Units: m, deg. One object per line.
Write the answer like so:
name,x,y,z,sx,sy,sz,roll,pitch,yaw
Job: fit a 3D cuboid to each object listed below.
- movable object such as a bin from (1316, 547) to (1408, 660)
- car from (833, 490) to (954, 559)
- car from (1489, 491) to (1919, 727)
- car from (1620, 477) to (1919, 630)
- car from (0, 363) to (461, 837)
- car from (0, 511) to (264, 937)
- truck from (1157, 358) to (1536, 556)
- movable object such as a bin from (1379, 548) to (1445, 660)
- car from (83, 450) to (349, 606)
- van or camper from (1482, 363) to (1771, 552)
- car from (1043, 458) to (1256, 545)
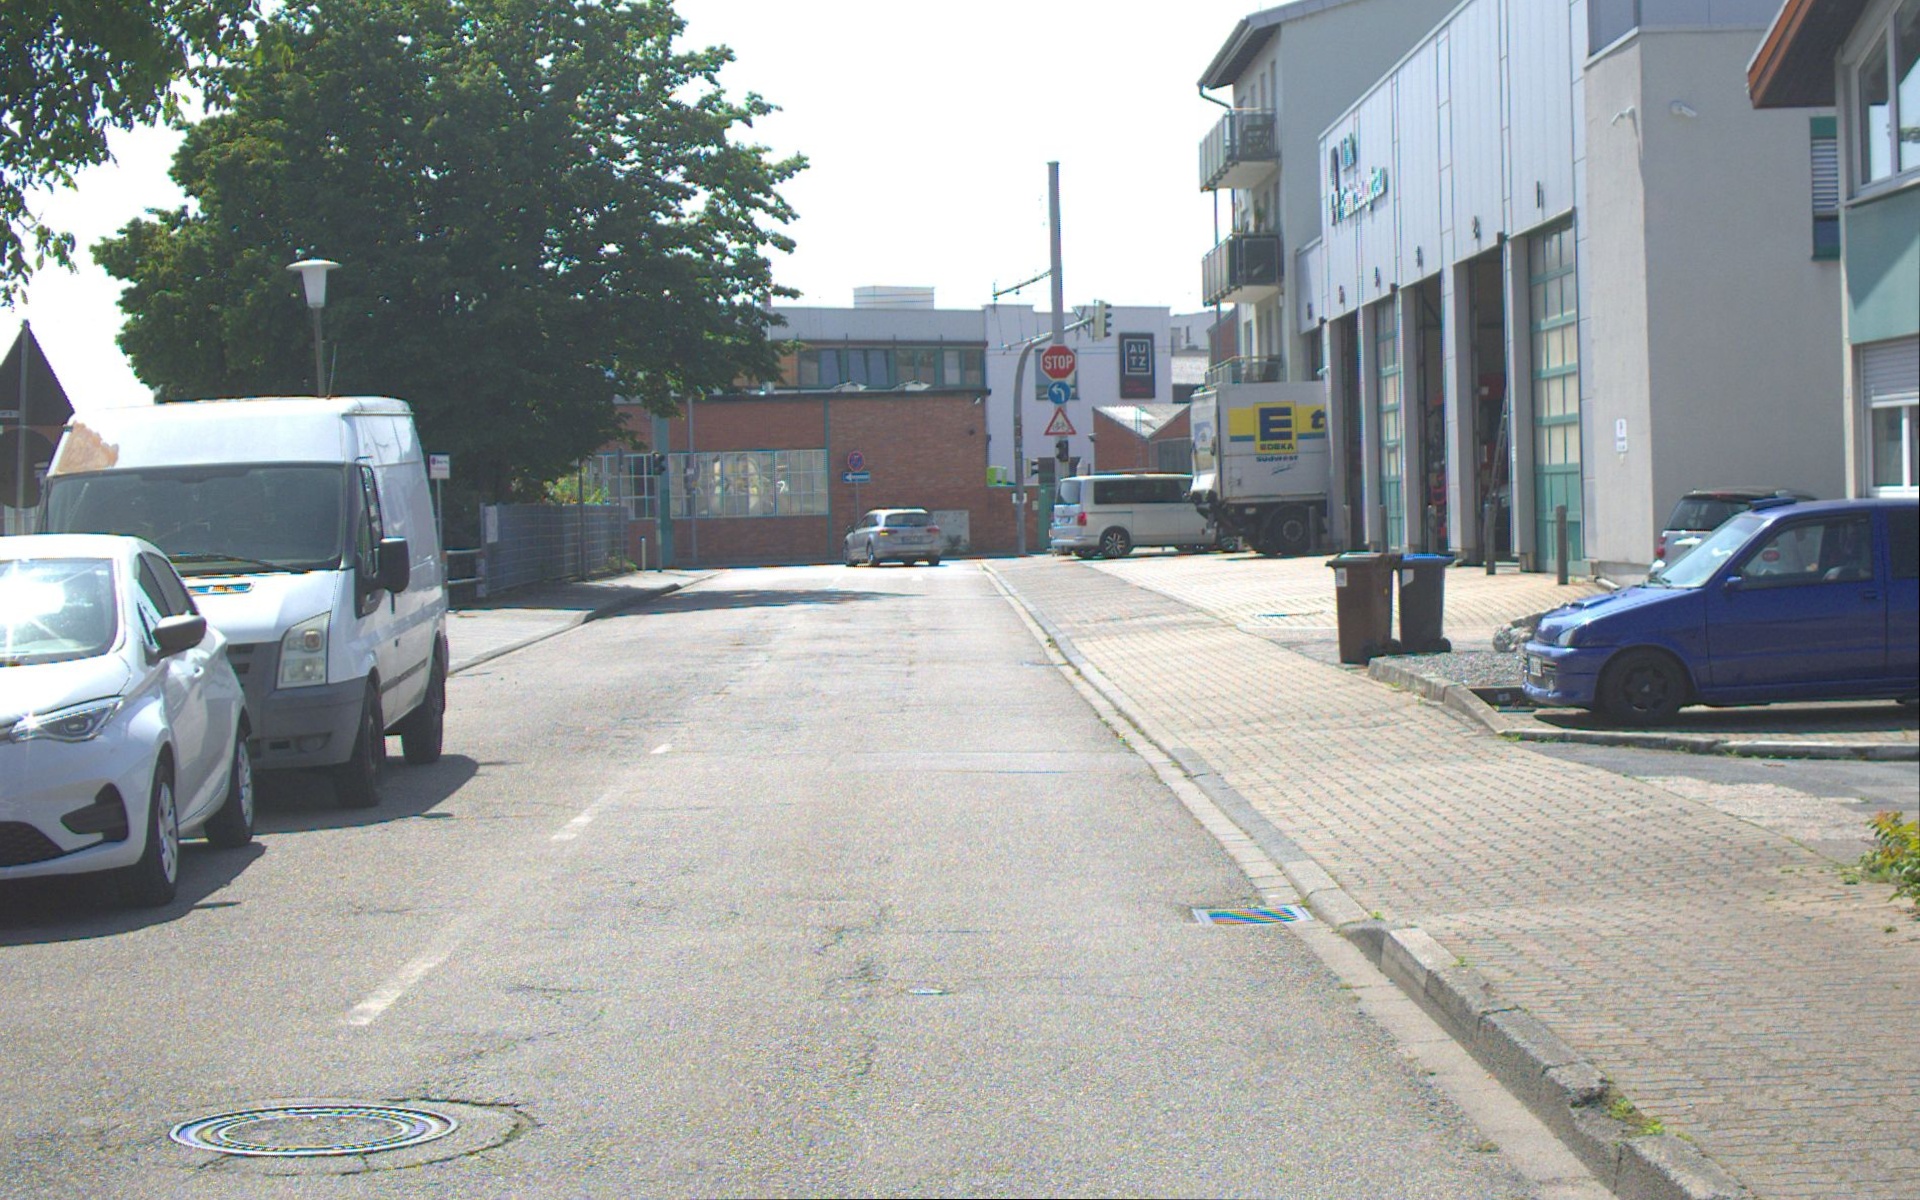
movable object such as a bin,3.481,0.028,29.761,0.568,0.943,0.556,-1,2,33
car,-1.735,-1.947,88.578,1.890,1.679,3.959,-2,2,-20
car,5.185,0.025,22.165,3.253,1.394,1.673,-2,1,0
car,9.026,-0.531,37.915,1.777,1.534,3.694,-1,2,41
car,-4.298,-0.065,20.394,2.005,2.358,5.230,-3,2,-2
car,-4.203,0.471,15.226,1.704,1.618,3.974,-3,1,-5
truck,8.193,-3.045,73.325,7.357,3.632,2.768,-4,2,-6
movable object such as a bin,3.971,0.032,30.174,0.514,0.943,0.487,-2,2,11
car,-12.563,-1.234,58.239,4.085,2.504,1.777,-1,2,-2
van or camper,12.096,-2.590,62.588,4.755,3.277,2.000,-1,2,-4
car,4.503,-2.350,81.738,4.653,1.951,1.917,-2,2,-19
